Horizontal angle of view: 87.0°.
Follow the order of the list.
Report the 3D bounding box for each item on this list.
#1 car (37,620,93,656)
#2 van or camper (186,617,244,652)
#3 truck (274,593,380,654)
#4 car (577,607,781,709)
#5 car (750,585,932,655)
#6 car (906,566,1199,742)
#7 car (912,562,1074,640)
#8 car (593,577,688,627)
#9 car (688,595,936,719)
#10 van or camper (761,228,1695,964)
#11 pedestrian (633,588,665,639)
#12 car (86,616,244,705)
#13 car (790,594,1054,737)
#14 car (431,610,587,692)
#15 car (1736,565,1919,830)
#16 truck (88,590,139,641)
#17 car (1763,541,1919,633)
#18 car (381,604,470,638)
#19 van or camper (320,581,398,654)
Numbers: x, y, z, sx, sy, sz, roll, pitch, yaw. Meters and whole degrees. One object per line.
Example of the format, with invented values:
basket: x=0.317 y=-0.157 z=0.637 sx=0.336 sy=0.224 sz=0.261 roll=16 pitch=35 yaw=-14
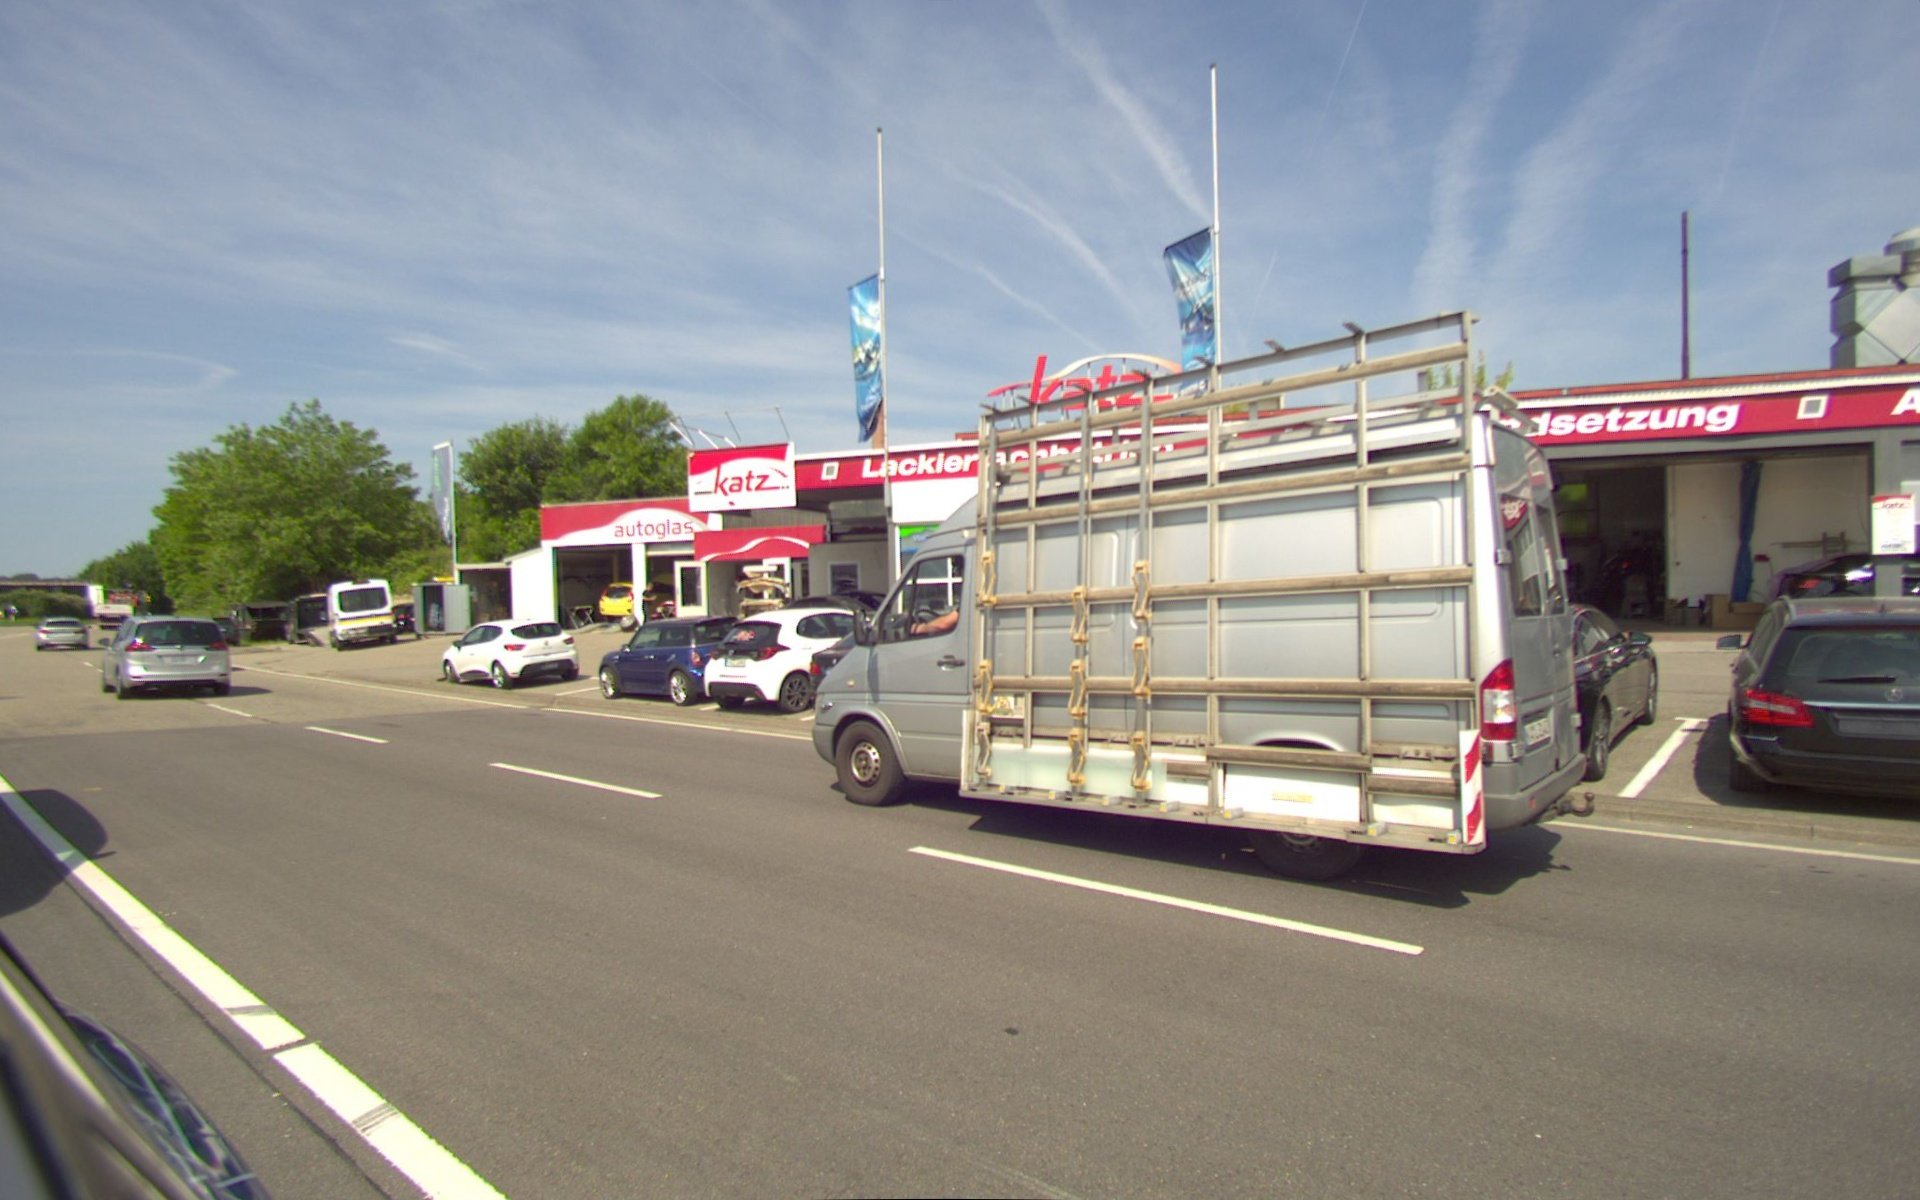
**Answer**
car: x=-41.857 y=1.744 z=47.307 sx=1.886 sy=1.533 sz=4.786 roll=0 pitch=-1 yaw=-42
van or camper: x=-35.502 y=1.613 z=48.172 sx=1.620 sy=1.536 sz=4.471 roll=-2 pitch=1 yaw=-44
truck: x=-28.861 y=1.013 z=45.943 sx=2.304 sy=2.313 sz=8.812 roll=-7 pitch=4 yaw=-42
car: x=-5.146 y=0.978 z=18.312 sx=3.781 sy=1.505 sz=1.761 roll=-1 pitch=4 yaw=43
car: x=-3.134 y=0.521 z=26.749 sx=4.361 sy=1.516 sz=1.848 roll=-3 pitch=1 yaw=19
car: x=1.321 y=0.552 z=12.997 sx=1.805 sy=1.729 sz=3.848 roll=-1 pitch=3 yaw=40
car: x=0.844 y=0.013 z=25.371 sx=3.727 sy=1.772 sz=1.696 roll=-2 pitch=3 yaw=16
car: x=-12.655 y=0.046 z=40.282 sx=1.726 sy=1.738 sz=3.649 roll=-1 pitch=3 yaw=19
car: x=-2.330 y=0.839 z=16.710 sx=1.844 sy=1.536 sz=3.760 roll=-1 pitch=3 yaw=39
van or camper: x=1.319 y=0.036 z=7.015 sx=5.900 sy=3.079 sz=2.184 roll=-1 pitch=-2 yaw=41
pedestrian: x=-11.173 y=0.477 z=36.336 sx=0.895 sy=1.775 sz=0.714 roll=0 pitch=1 yaw=44
car: x=-16.705 y=1.190 z=21.196 sx=4.179 sy=1.675 sz=1.889 roll=-1 pitch=-2 yaw=42
car: x=-0.429 y=0.824 z=14.624 sx=1.790 sy=1.536 sz=3.673 roll=-1 pitch=3 yaw=39
car: x=-10.223 y=1.081 z=22.833 sx=4.000 sy=1.630 sz=1.760 roll=-1 pitch=0 yaw=43
car: x=7.534 y=0.584 z=8.296 sx=1.770 sy=1.495 sz=4.417 roll=-2 pitch=3 yaw=39
truck: x=-73.698 y=1.424 z=88.254 sx=2.918 sy=4.241 sz=10.667 roll=2 pitch=-2 yaw=-38
car: x=18.158 y=-0.239 z=19.395 sx=3.997 sy=1.685 sz=1.893 roll=-1 pitch=-1 yaw=29
car: x=-25.695 y=0.988 z=48.768 sx=1.725 sy=1.541 sz=3.649 roll=-1 pitch=0 yaw=18
van or camper: x=-23.741 y=0.635 z=39.866 sx=2.126 sy=2.517 sz=5.965 roll=-5 pitch=2 yaw=-34
